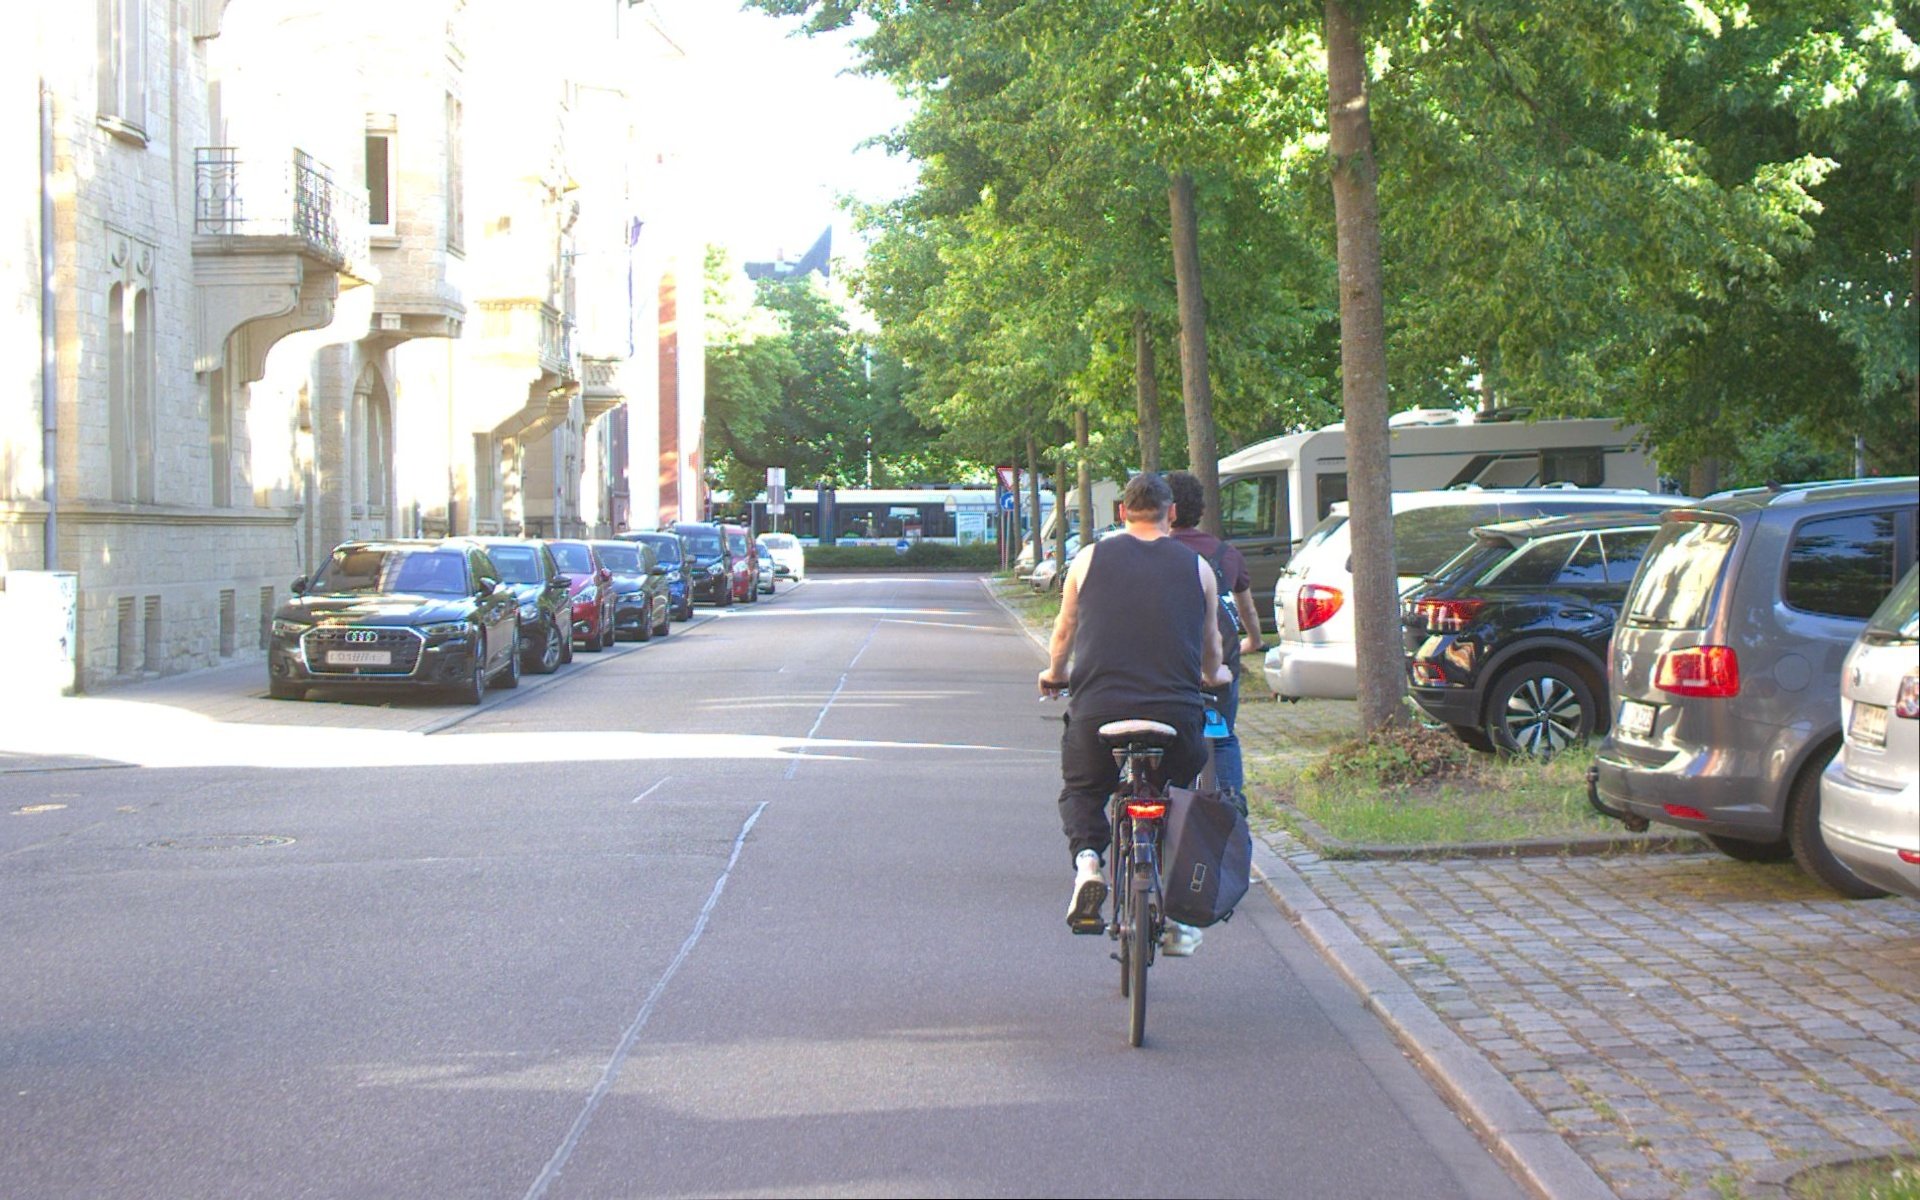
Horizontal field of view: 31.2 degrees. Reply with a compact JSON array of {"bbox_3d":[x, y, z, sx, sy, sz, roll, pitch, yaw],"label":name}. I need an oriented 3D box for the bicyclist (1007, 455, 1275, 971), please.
[{"bbox_3d":[0.554,0.340,10.861,0.730,1.542,0.885,2,0,-1],"label":"bicyclist"}]

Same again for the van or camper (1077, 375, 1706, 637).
[{"bbox_3d":[5.050,-1.123,41.177,7.147,2.638,2.464,-3,1,2],"label":"van or camper"}]

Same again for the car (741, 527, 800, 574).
[{"bbox_3d":[-6.015,-1.579,109.545,1.583,1.371,4.131,2,2,0],"label":"car"}]

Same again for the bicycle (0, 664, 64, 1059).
[{"bbox_3d":[-3.126,0.767,9.582,0.757,1.104,1.907,-1,1,-1],"label":"bicycle"}]

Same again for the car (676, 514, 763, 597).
[{"bbox_3d":[-5.657,-1.081,81.201,1.689,1.819,4.273,2,2,0],"label":"car"}]

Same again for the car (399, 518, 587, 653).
[{"bbox_3d":[-5.205,-0.177,38.705,1.696,1.448,4.028,0,1,-2],"label":"car"}]

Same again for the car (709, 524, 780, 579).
[{"bbox_3d":[-5.751,-1.318,92.088,1.583,1.339,4.131,2,2,0],"label":"car"}]

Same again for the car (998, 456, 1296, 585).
[{"bbox_3d":[4.634,-1.995,86.087,7.146,2.968,2.465,-2,1,-3],"label":"car"}]

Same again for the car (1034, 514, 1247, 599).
[{"bbox_3d":[3.539,-0.849,67.822,4.139,1.594,1.702,-1,-1,2],"label":"car"}]

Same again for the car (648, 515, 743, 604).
[{"bbox_3d":[-5.659,-0.896,73.878,1.640,1.777,4.354,2,2,0],"label":"car"}]

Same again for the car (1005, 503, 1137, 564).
[{"bbox_3d":[3.494,-2.090,108.470,3.986,1.797,1.834,1,1,-2],"label":"car"}]

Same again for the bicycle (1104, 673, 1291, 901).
[{"bbox_3d":[0.968,0.752,14.354,0.633,0.796,1.833,-1,2,0],"label":"bicycle"}]

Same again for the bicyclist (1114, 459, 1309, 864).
[{"bbox_3d":[1.045,0.240,14.482,0.689,1.621,0.998,3,1,1],"label":"bicyclist"}]

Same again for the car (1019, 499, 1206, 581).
[{"bbox_3d":[3.479,-1.368,78.908,4.082,1.644,1.641,-3,1,-2],"label":"car"}]

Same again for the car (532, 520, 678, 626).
[{"bbox_3d":[-5.296,-0.435,51.724,1.675,1.425,4.551,2,2,0],"label":"car"}]

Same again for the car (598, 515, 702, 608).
[{"bbox_3d":[-5.468,-0.697,60.915,1.595,1.484,2.737,3,2,-2],"label":"car"}]

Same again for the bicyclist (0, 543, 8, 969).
[{"bbox_3d":[-3.128,0.340,9.414,0.759,1.449,0.949,-1,1,-1],"label":"bicyclist"}]

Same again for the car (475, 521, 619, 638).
[{"bbox_3d":[-5.493,-0.303,46.031,1.628,1.448,3.838,1,2,-3],"label":"car"}]

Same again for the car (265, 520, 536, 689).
[{"bbox_3d":[-5.256,-0.002,32.874,1.811,1.422,4.898,2,1,-1],"label":"car"}]

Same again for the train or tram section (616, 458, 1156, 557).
[{"bbox_3d":[-3.073,-4.002,151.953,23.799,3.696,4.287,1,1,-22],"label":"train or tram section"}]

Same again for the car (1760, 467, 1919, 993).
[{"bbox_3d":[5.016,0.271,11.444,4.273,1.628,1.690,-3,1,3],"label":"car"}]

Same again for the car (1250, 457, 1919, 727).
[{"bbox_3d":[4.474,-0.080,24.570,4.619,1.703,1.833,-2,1,1],"label":"car"}]

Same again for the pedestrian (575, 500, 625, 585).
[{"bbox_3d":[-7.519,-1.199,71.848,0.938,1.736,0.735,1,1,0],"label":"pedestrian"}]

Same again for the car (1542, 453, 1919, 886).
[{"bbox_3d":[4.948,0.146,14.444,4.538,1.628,1.813,-3,1,-6],"label":"car"}]

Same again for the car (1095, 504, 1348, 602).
[{"bbox_3d":[4.439,-0.795,58.889,4.223,1.594,1.691,-1,-1,2],"label":"car"}]

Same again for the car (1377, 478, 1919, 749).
[{"bbox_3d":[4.843,0.044,22.093,4.068,1.471,1.694,-3,2,1],"label":"car"}]

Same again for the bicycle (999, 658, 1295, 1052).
[{"bbox_3d":[0.545,0.745,10.778,0.737,1.050,1.956,2,0,-1],"label":"bicycle"}]

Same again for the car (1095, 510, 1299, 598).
[{"bbox_3d":[4.473,-0.868,65.287,3.773,1.594,1.691,-1,-1,2],"label":"car"}]
